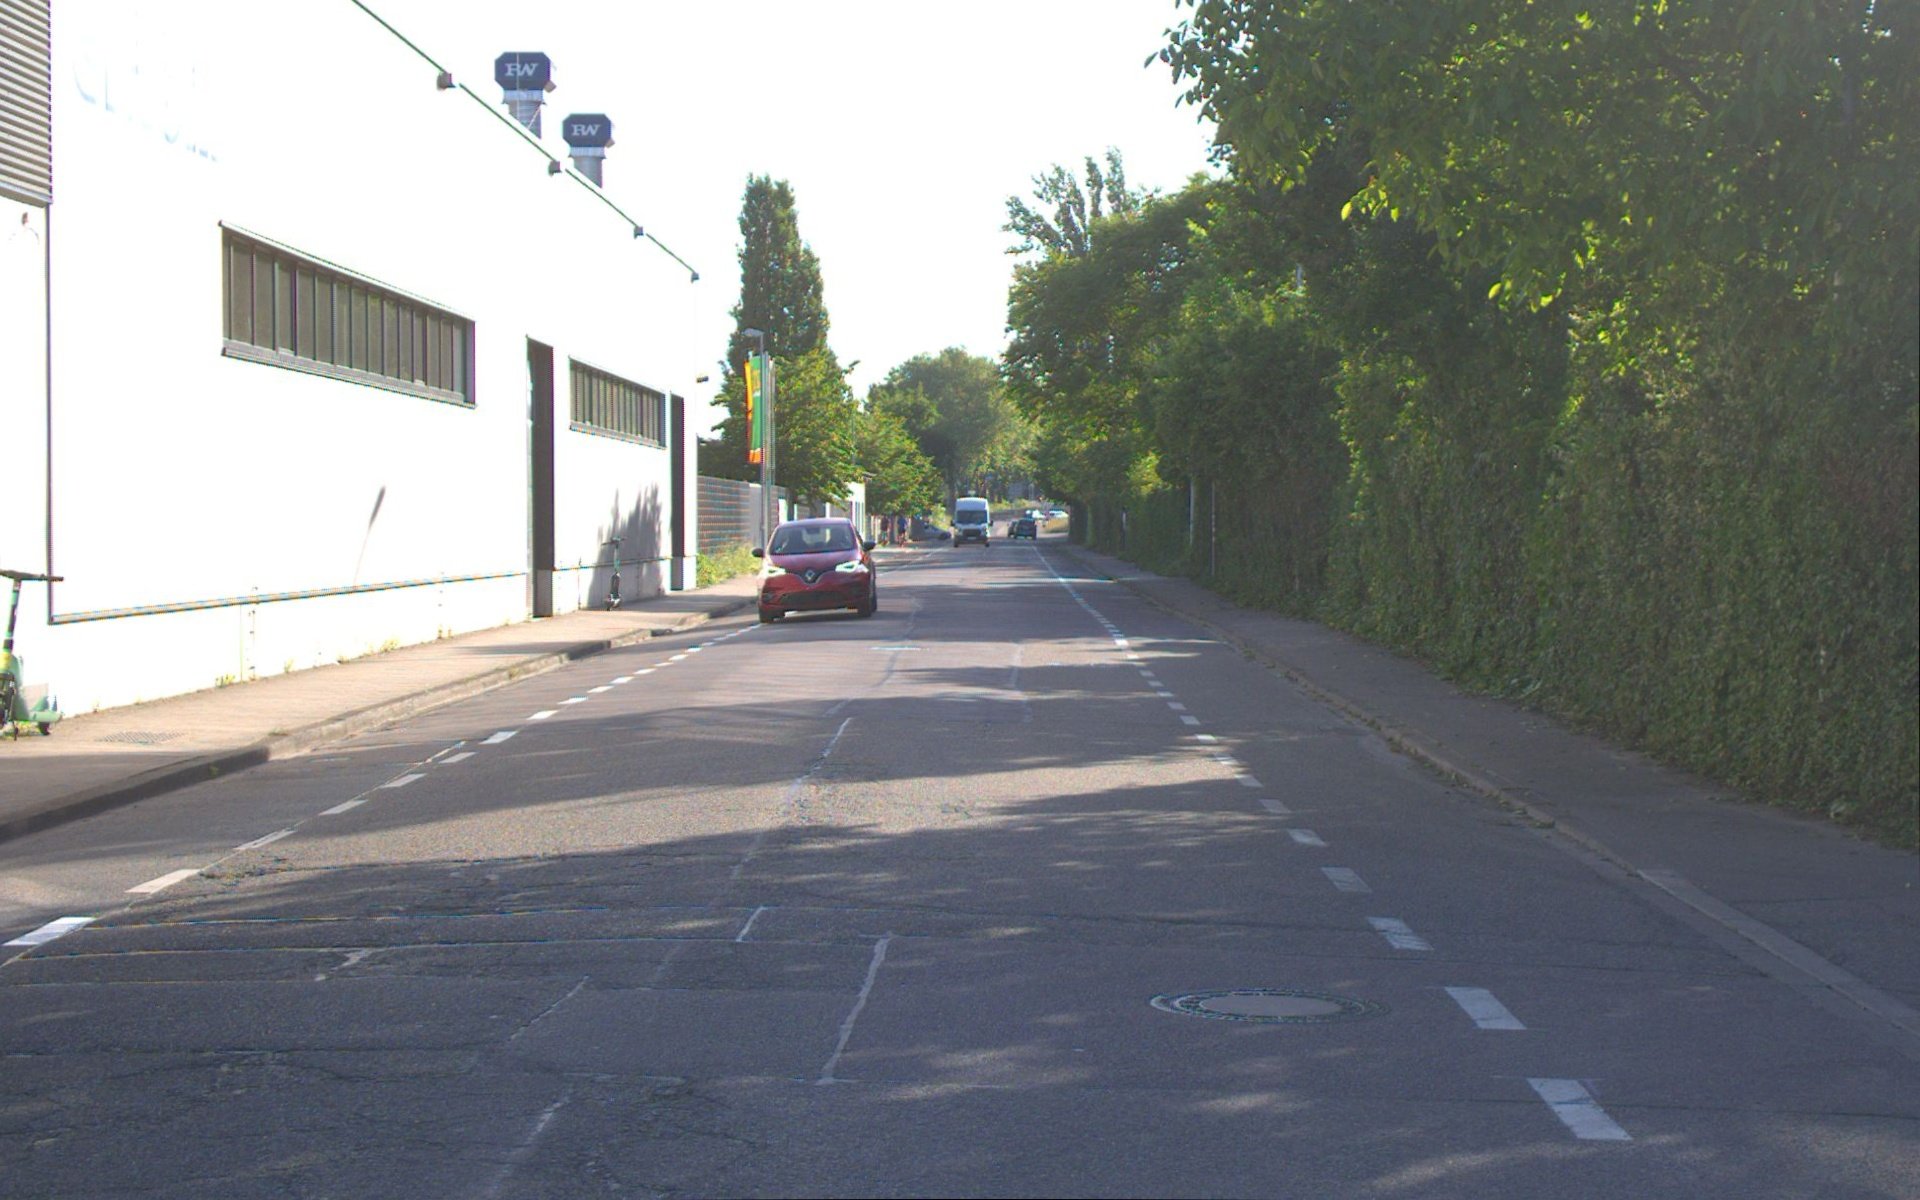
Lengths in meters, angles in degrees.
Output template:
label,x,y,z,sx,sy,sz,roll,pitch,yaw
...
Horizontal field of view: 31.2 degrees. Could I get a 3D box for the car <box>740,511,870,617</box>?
label,x,y,z,sx,sy,sz,roll,pitch,yaw
car,-2.386,-0.579,53.743,1.817,1.484,4.000,-3,1,-1

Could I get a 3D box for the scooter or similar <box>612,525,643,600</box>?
label,x,y,z,sx,sy,sz,roll,pitch,yaw
scooter or similar,-5.632,-0.645,58.299,0.416,1.263,1.060,0,1,1

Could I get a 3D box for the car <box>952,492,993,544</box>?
label,x,y,z,sx,sy,sz,roll,pitch,yaw
car,0.728,-4.605,193.918,2.123,2.771,5.927,-2,1,1

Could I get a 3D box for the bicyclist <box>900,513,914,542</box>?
label,x,y,z,sx,sy,sz,roll,pitch,yaw
bicyclist,-2.879,-3.921,186.585,0.689,1.526,0.722,2,1,1

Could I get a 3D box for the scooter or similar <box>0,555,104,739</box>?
label,x,y,z,sx,sy,sz,roll,pitch,yaw
scooter or similar,-6.485,0.307,23.965,0.507,1.199,1.753,3,1,1

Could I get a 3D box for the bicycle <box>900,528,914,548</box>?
label,x,y,z,sx,sy,sz,roll,pitch,yaw
bicycle,-2.898,-3.372,186.509,0.689,1.030,1.351,2,1,1
